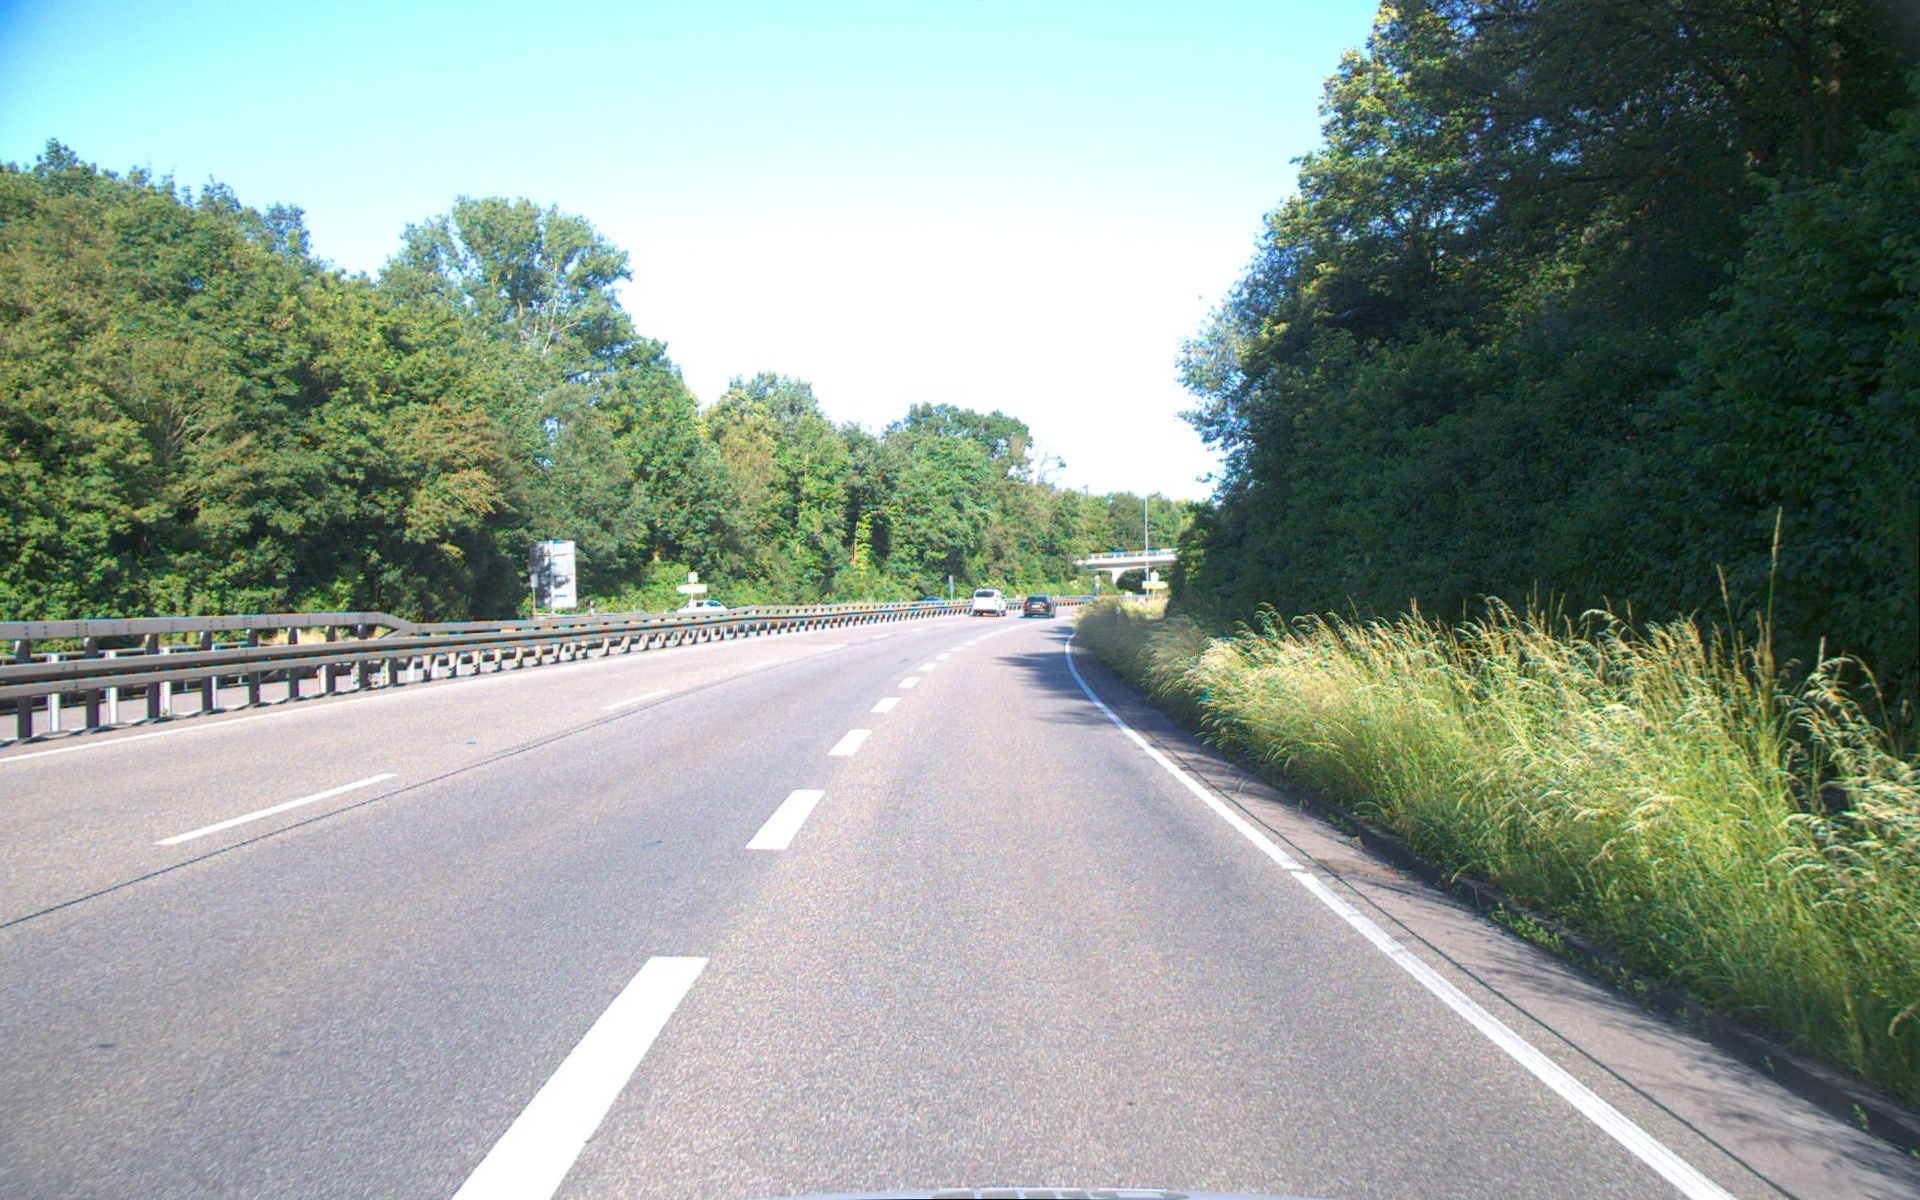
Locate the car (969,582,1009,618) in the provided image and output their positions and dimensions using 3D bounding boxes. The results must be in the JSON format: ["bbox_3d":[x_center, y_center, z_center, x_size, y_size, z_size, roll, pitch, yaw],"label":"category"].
[{"bbox_3d":[1.960,-0.023,110.268,1.951,2.317,4.004,-1,0,11],"label":"car"}]

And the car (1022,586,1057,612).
[{"bbox_3d":[5.195,-0.073,107.591,1.702,1.691,3.949,-1,0,11],"label":"car"}]

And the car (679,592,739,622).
[{"bbox_3d":[-17.524,0.493,115.762,1.954,2.049,4.625,0,-1,24],"label":"car"}]
